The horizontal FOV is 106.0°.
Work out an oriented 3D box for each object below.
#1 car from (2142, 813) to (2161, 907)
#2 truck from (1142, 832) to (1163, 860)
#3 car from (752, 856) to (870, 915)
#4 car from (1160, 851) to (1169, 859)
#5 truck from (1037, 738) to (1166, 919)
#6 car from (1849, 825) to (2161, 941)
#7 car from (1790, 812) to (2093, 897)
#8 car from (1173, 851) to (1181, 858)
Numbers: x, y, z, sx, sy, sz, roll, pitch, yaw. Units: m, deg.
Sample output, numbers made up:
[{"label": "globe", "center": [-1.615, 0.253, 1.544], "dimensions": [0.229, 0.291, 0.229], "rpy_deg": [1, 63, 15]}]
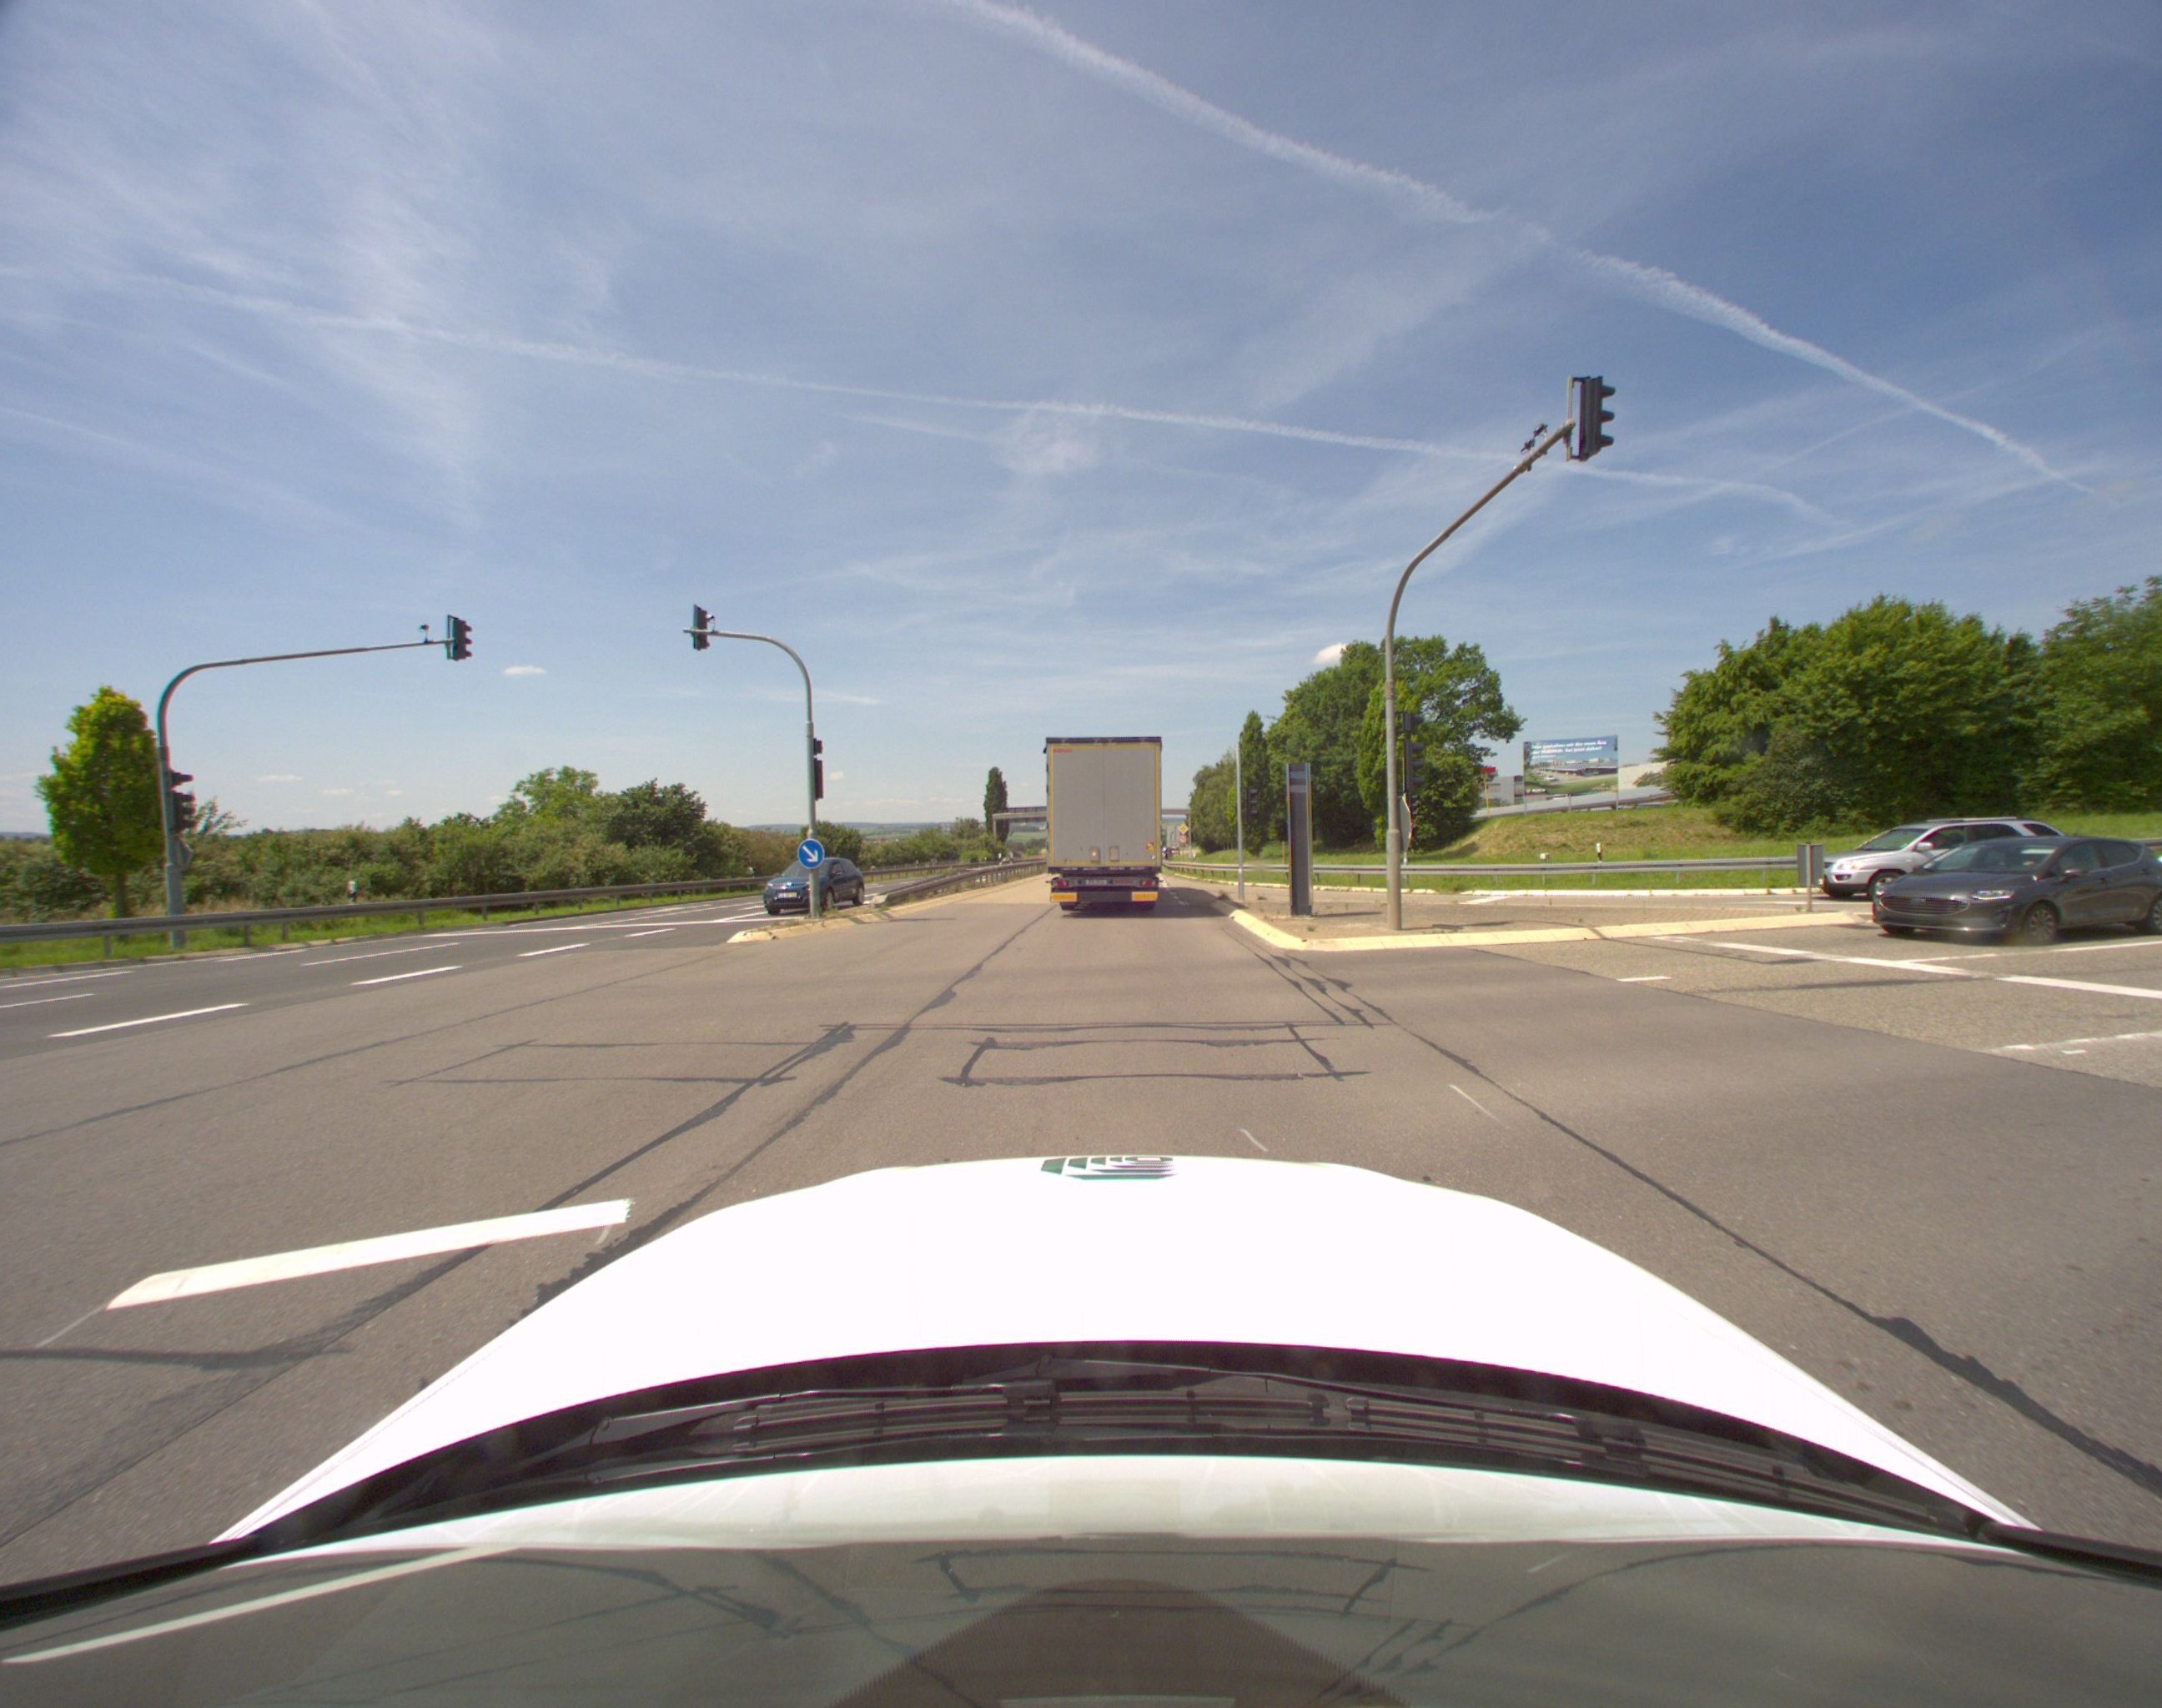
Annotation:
[{"label": "car", "center": [20.731, 0.007, 13.747], "dimensions": [4.363, 1.592, 1.772], "rpy_deg": [-2, 0, -13]}, {"label": "truck", "center": [10.217, -1.091, 115.949], "dimensions": [2.641, 3.764, 10.180], "rpy_deg": [0, -1, 7]}, {"label": "car", "center": [-7.587, 0.827, 23.342], "dimensions": [1.748, 1.469, 4.198], "rpy_deg": [-2, 0, 2]}, {"label": "car", "center": [17.546, 0.191, 171.431], "dimensions": [1.778, 1.688, 4.006], "rpy_deg": [0, -1, 5]}, {"label": "truck", "center": [0.480, -0.590, 23.411], "dimensions": [2.790, 3.929, 11.341], "rpy_deg": [0, 0, 0]}, {"label": "car", "center": [13.976, 0.384, 12.037], "dimensions": [3.985, 1.510, 1.711], "rpy_deg": [-1, -1, -8]}, {"label": "car", "center": [18.995, 0.037, 18.222], "dimensions": [4.327, 1.655, 1.843], "rpy_deg": [-2, -1, 13]}, {"label": "car", "center": [22.330, 0.128, 190.198], "dimensions": [1.778, 1.688, 4.006], "rpy_deg": [0, -1, 5]}]
